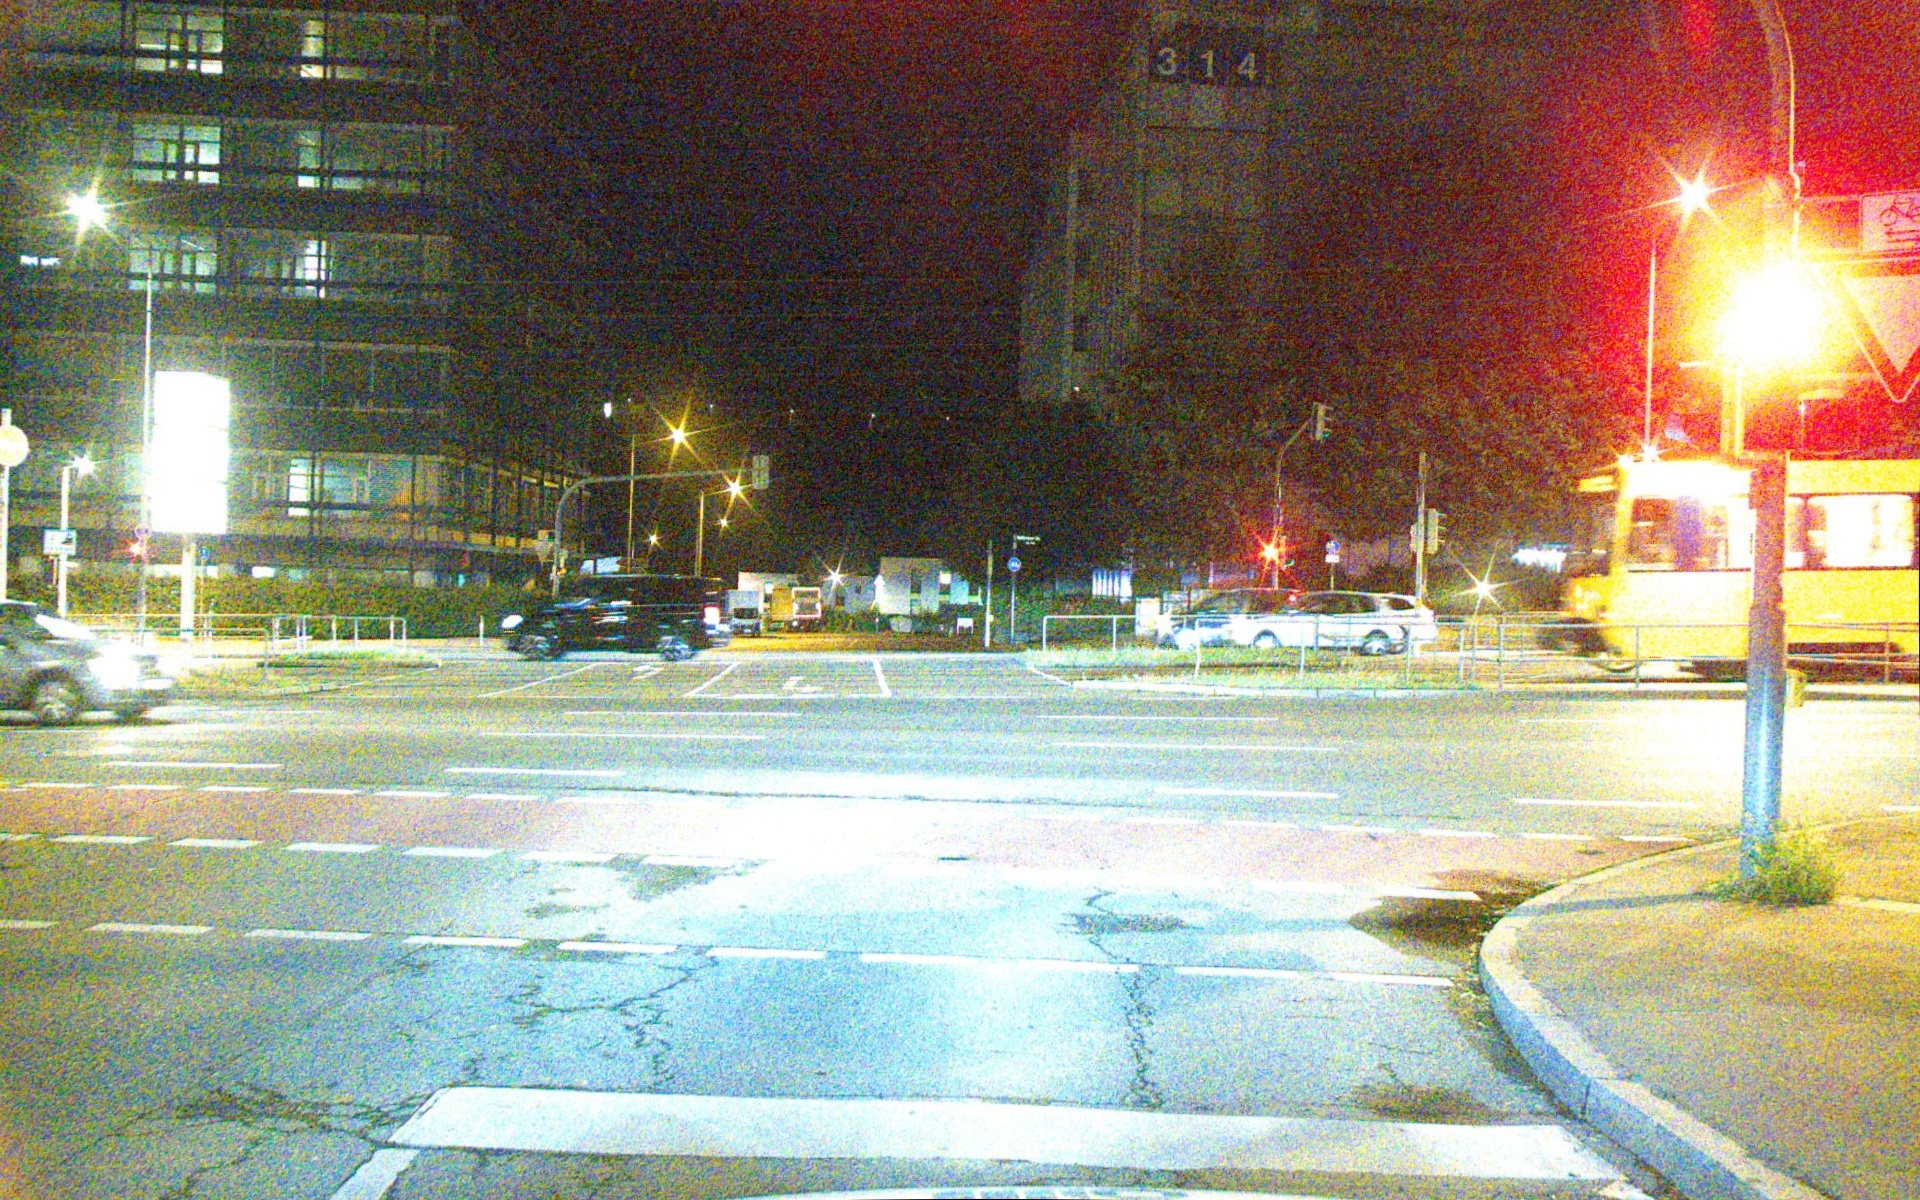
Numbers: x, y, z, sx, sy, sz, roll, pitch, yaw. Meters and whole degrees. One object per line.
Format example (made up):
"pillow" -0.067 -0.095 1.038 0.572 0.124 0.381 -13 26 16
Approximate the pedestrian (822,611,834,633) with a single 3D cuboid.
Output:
"pedestrian" -11.772 1.933 147.446 0.836 1.945 1.001 2 -1 -18

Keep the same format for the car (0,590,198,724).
"car" -11.027 0.652 19.144 3.610 1.445 1.643 -1 1 3

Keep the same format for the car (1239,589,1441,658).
"car" 9.086 0.542 39.809 4.479 1.512 1.779 1 0 2

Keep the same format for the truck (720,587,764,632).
"truck" -15.773 0.702 119.422 2.377 3.143 6.414 2 -1 -14

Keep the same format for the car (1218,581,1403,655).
"car" 7.771 0.409 36.899 3.755 1.512 1.869 1 -1 2

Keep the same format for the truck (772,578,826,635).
"truck" -14.553 0.627 148.699 3.307 4.927 7.868 2 -1 -17

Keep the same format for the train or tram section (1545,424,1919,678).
"train or tram section" 19.131 -0.832 26.925 18.033 3.916 2.967 0 1 3

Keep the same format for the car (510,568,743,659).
"car" -7.545 0.314 37.698 4.840 1.917 1.870 1 -1 3

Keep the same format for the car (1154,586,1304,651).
"car" 6.977 0.462 43.216 3.738 1.660 1.813 0 0 5
